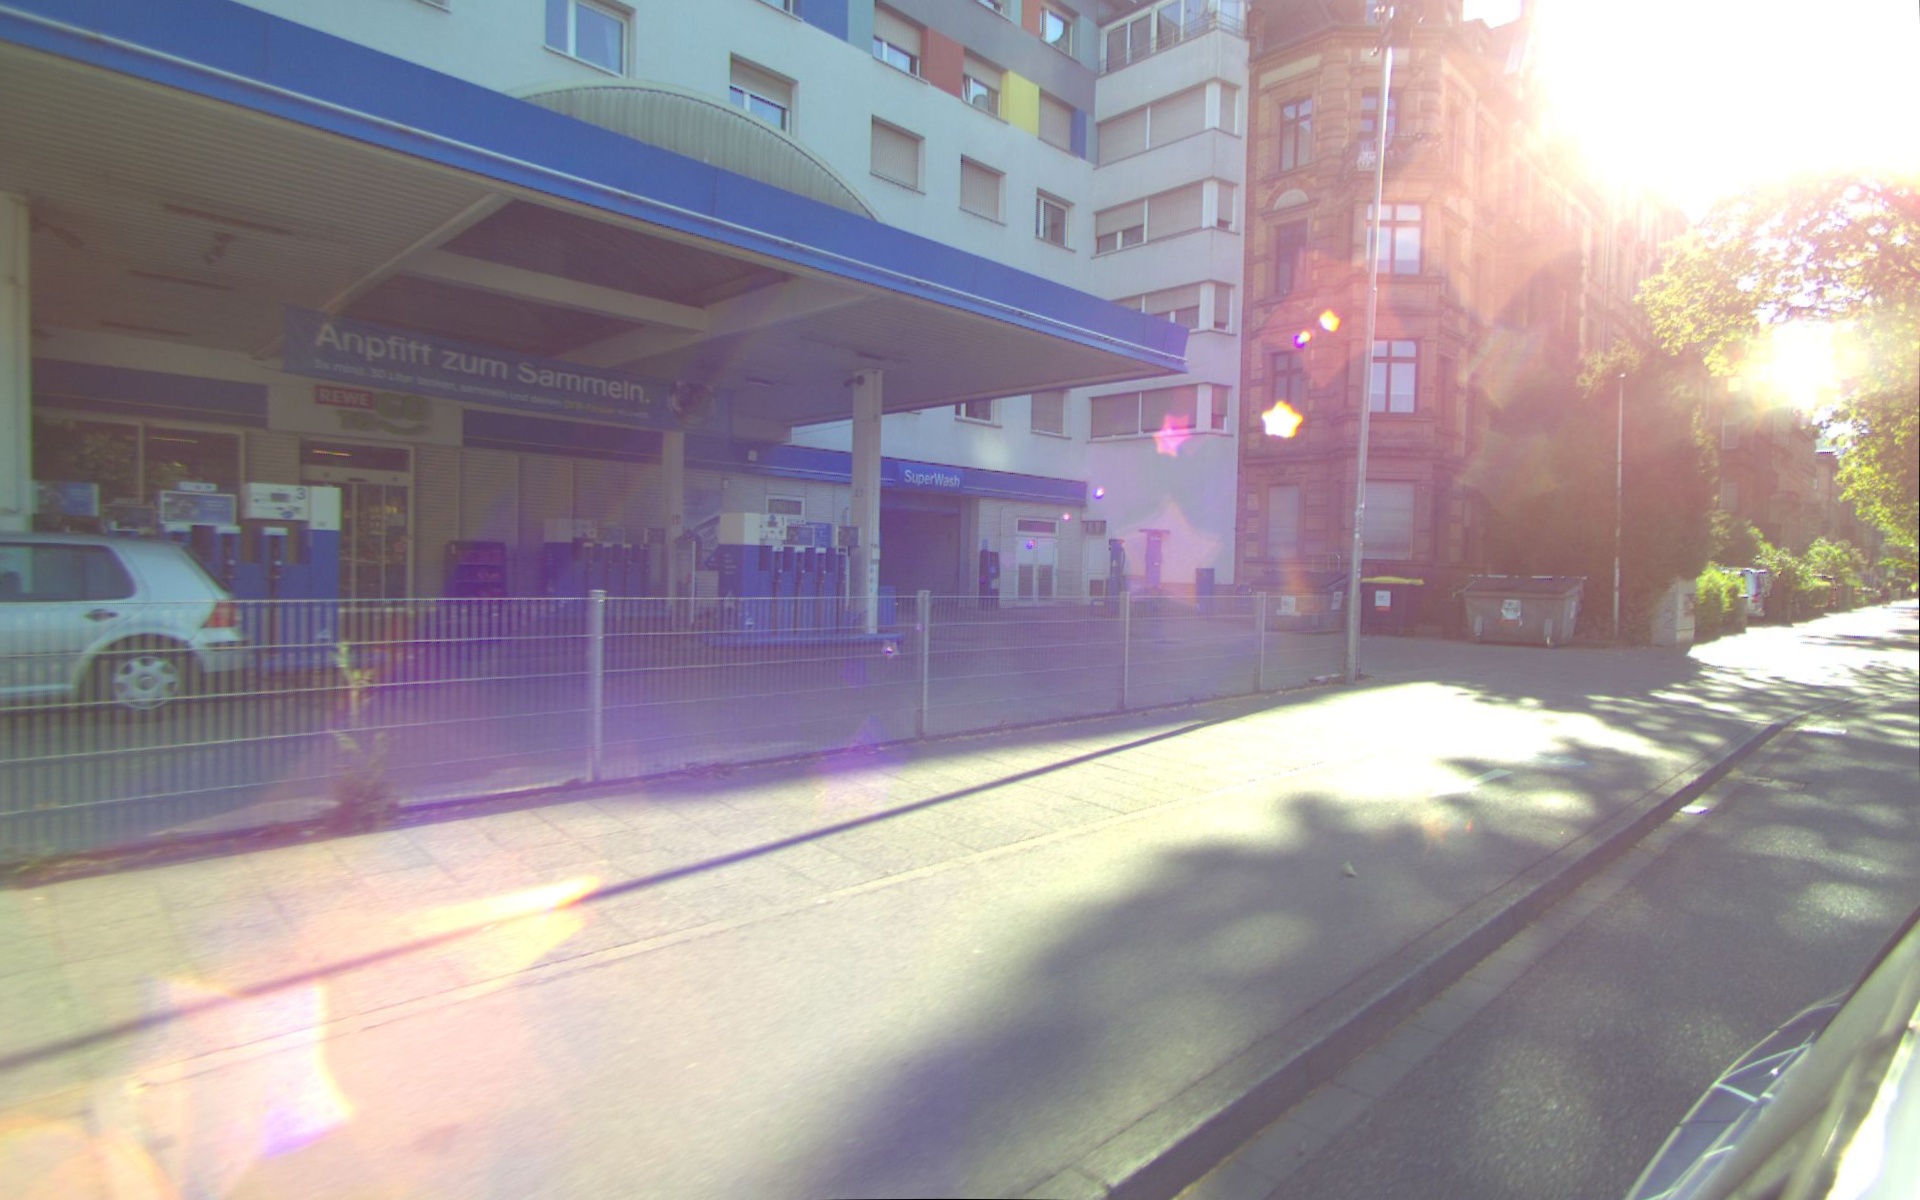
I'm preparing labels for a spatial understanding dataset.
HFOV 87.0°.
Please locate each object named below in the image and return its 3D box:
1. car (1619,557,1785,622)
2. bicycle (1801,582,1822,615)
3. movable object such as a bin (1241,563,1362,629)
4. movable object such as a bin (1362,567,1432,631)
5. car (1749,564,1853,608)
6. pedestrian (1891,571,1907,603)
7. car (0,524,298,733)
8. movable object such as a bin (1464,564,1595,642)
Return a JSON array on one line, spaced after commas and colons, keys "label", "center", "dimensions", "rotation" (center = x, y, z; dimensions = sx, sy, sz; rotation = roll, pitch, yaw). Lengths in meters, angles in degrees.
[{"label": "car", "center": [27.152, -0.447, 37.156], "dimensions": [1.883, 2.037, 4.578], "rotation": [-1, 5, -44]}, {"label": "bicycle", "center": [33.380, -0.079, 39.675], "dimensions": [1.736, 1.266, 0.338], "rotation": [0, 0, -41]}, {"label": "movable object such as a bin", "center": [8.151, -0.126, 24.174], "dimensions": [2.208, 1.441, 1.751], "rotation": [3, 2, 42]}, {"label": "movable object such as a bin", "center": [10.092, -0.032, 23.360], "dimensions": [1.186, 1.406, 1.013], "rotation": [3, 2, 44]}, {"label": "car", "center": [46.148, -0.803, 55.583], "dimensions": [4.180, 2.037, 1.968], "rotation": [7, 5, 44]}, {"label": "pedestrian", "center": [60.698, -0.862, 65.428], "dimensions": [0.623, 2.038, 0.673], "rotation": [0, 3, -45]}, {"label": "car", "center": [-7.370, 0.166, 7.379], "dimensions": [1.568, 1.448, 4.033], "rotation": [4, 3, 45]}, {"label": "movable object such as a bin", "center": [11.883, 0.026, 21.124], "dimensions": [2.034, 1.509, 1.720], "rotation": [3, 2, 42]}]
